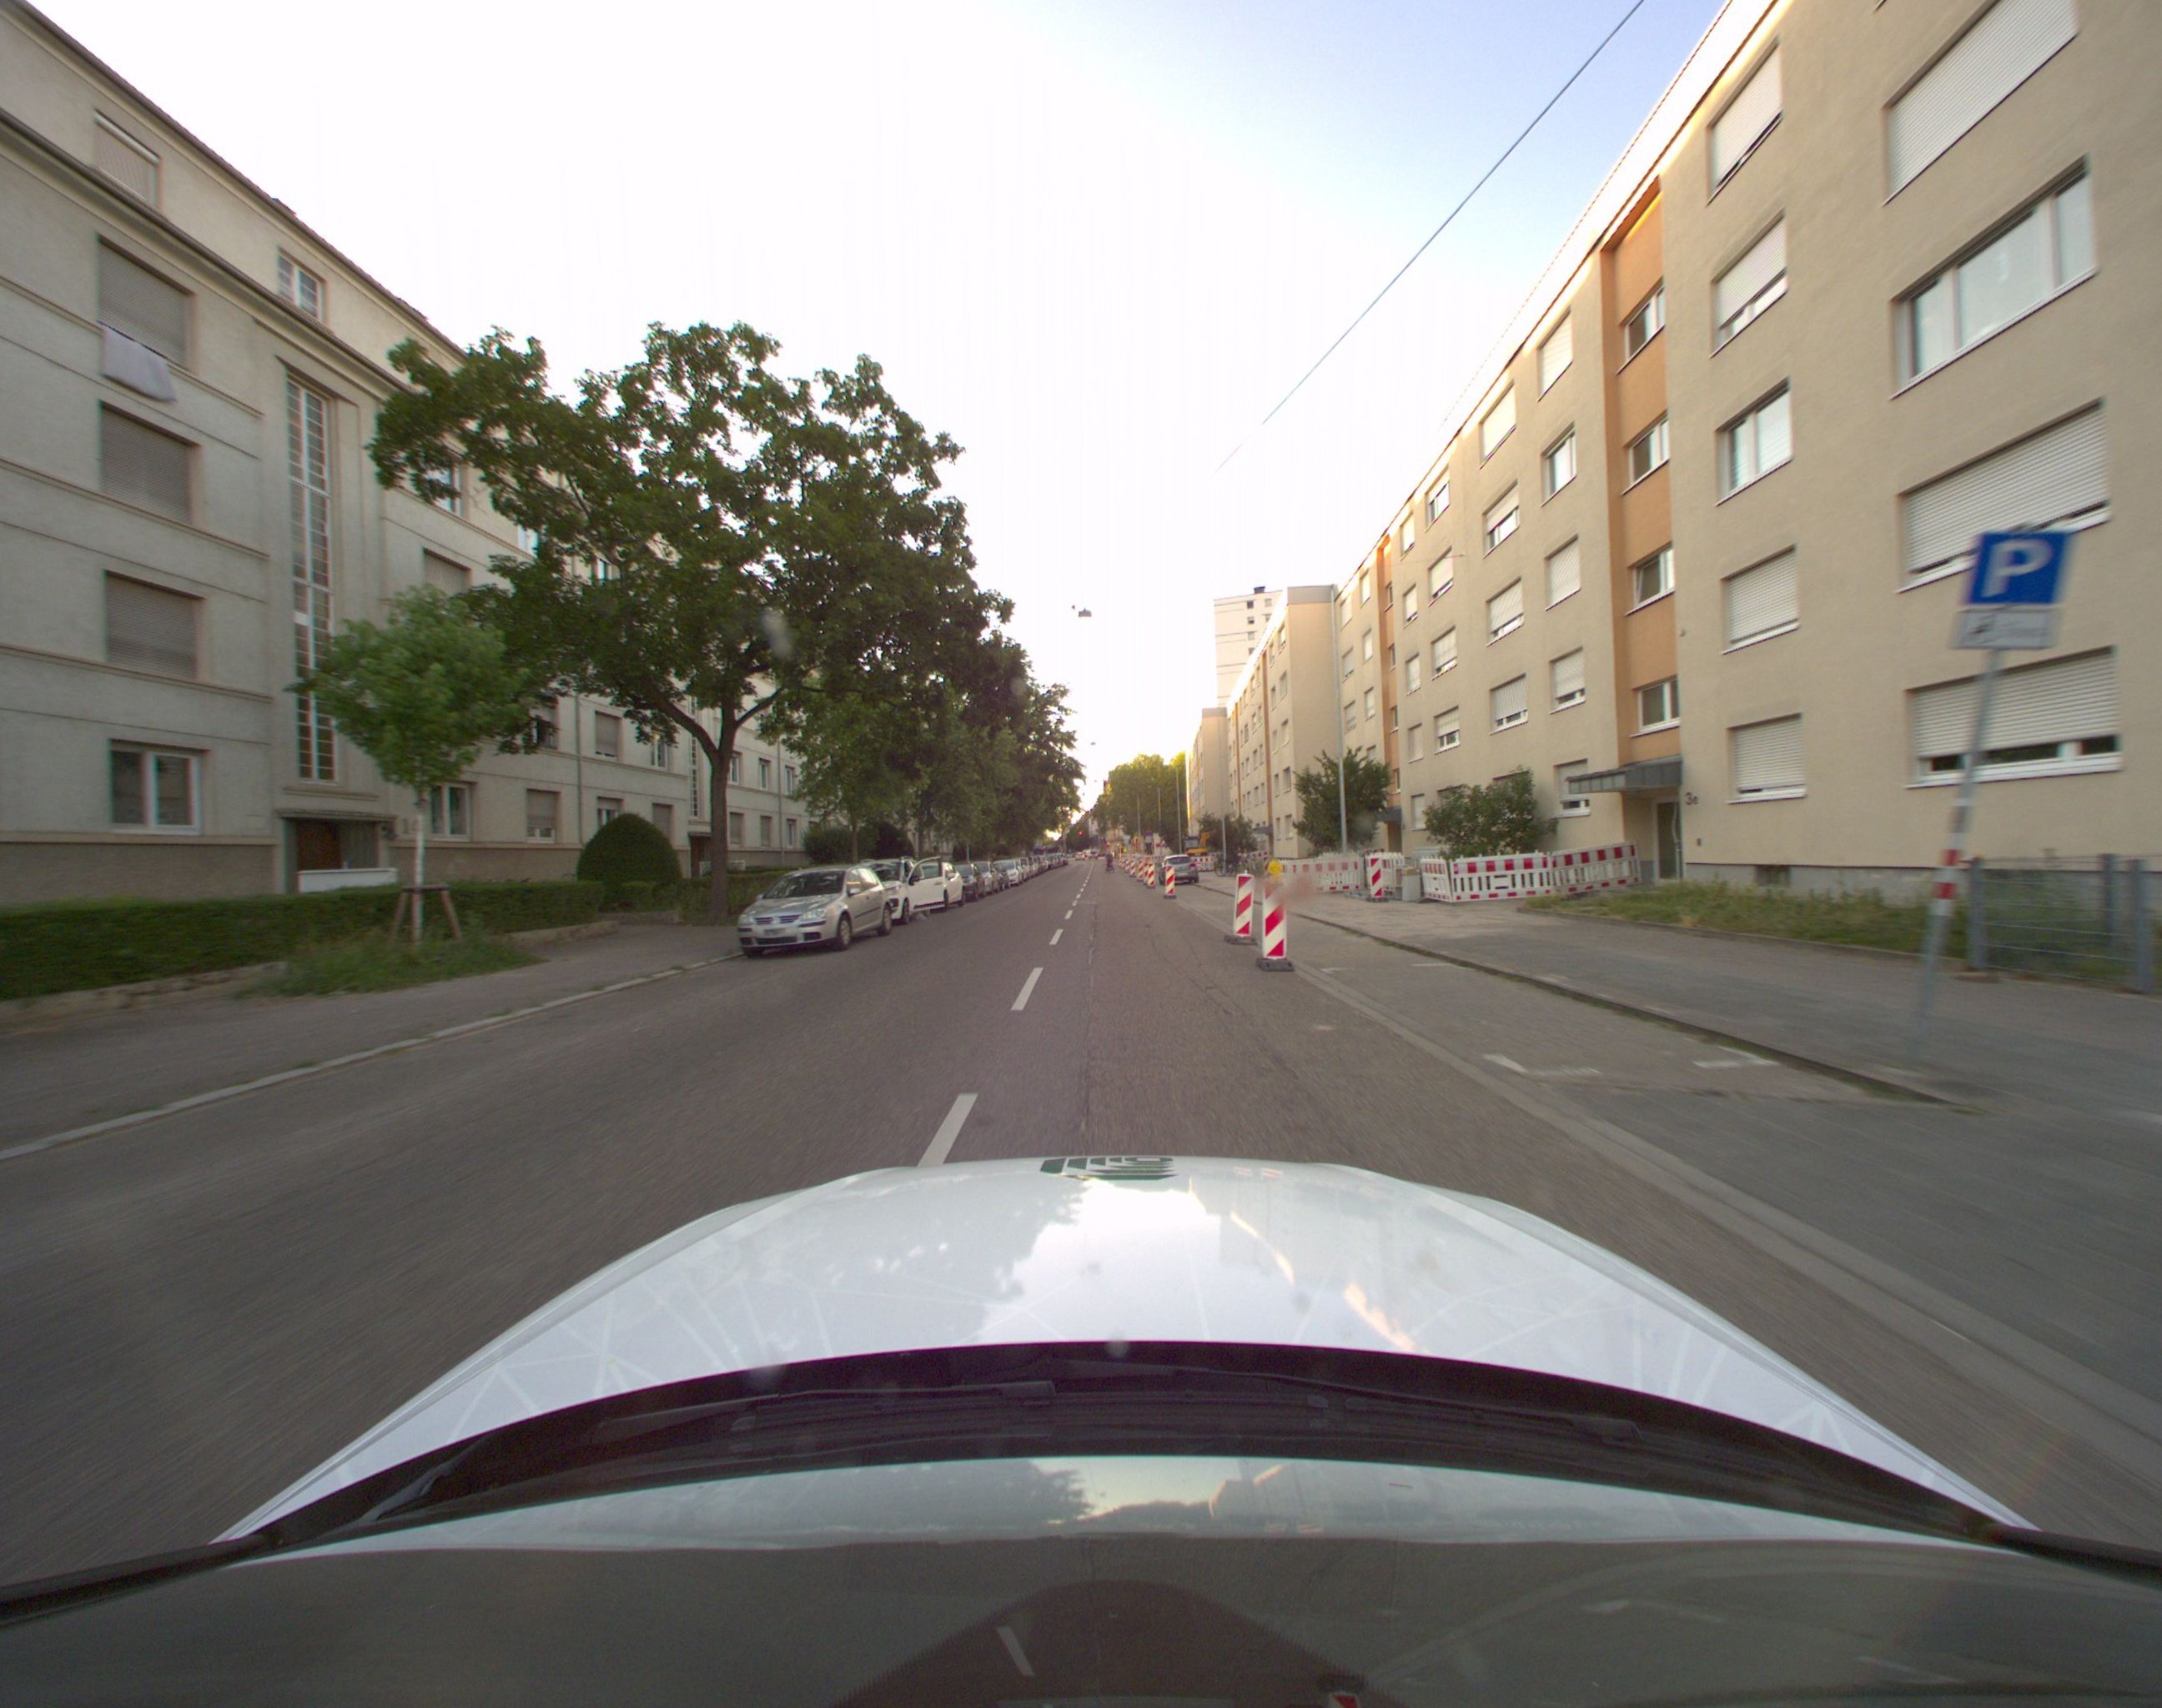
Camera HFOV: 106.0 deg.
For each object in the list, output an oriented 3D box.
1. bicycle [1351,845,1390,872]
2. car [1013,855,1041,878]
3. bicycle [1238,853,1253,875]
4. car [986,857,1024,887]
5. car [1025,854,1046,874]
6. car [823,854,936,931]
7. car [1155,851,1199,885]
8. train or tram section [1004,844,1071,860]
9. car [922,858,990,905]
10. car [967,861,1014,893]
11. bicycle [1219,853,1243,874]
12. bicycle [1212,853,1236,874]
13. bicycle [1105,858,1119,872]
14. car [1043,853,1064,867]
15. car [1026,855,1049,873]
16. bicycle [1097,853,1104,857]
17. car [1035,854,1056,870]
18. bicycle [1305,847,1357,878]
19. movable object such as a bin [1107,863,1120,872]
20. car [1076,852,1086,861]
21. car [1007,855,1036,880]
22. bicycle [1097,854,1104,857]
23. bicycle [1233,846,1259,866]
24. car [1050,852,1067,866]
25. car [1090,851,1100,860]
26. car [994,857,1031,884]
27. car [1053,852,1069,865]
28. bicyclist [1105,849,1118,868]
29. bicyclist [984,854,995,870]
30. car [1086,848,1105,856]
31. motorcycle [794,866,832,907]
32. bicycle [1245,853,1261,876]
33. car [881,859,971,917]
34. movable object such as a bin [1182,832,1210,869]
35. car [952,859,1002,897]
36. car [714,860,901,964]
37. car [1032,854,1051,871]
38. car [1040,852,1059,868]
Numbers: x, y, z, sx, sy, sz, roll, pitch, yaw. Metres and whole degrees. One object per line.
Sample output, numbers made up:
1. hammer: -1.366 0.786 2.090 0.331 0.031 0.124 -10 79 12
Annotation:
1. bicycle: 11.787 0.183 33.136 1.827 0.921 0.551 -6 -1 -40
2. car: -4.013 0.893 60.827 1.583 1.529 2.924 -5 0 3
3. bicycle: 9.176 0.539 45.466 0.553 1.172 1.819 -2 0 4
4. car: -4.190 0.989 45.497 1.687 1.459 4.143 -5 0 -1
5. car: -3.906 0.833 69.686 1.518 1.529 3.163 -5 0 0
6. car: -4.989 0.891 20.772 1.747 1.632 4.106 -5 0 0
7. car: 4.922 0.706 42.162 1.769 1.490 4.576 -6 0 2
8. train or tram section: -11.641 -0.438 216.345 16.870 3.625 5.068 -2 0 18
9. car: -4.607 0.974 30.658 1.747 1.479 4.677 -5 0 -1
10. car: -4.421 1.081 40.458 1.669 1.331 4.579 -5 0 0
11. bicycle: 8.752 0.551 47.499 0.627 1.172 1.807 -2 0 -15
12. bicycle: 8.225 0.554 47.001 0.557 1.172 1.805 -1 0 -18
13. bicycle: 2.689 0.933 71.038 0.937 1.172 2.357 -4 0 -2
14. car: -3.110 0.665 92.857 1.724 1.497 4.277 -4 0 5
15. car: -3.916 0.882 73.834 1.584 1.404 4.182 -5 0 1
16. bicycle: 5.544 0.354 233.277 1.909 0.968 0.545 -2 0 -1
17. car: -3.605 0.778 83.637 1.701 1.452 3.844 -5 0 1
18. bicycle: 9.920 0.336 32.365 1.804 1.022 0.558 -7 -1 1
19. movable object such as a bin: 2.750 1.152 69.370 0.937 0.689 0.992 -5 0 -2
20. car: -0.047 0.544 162.177 1.860 1.585 3.998 -3 0 -1
21. car: -4.104 0.926 56.649 1.585 1.505 3.800 -5 0 1
22. bicycle: 5.580 0.469 233.425 1.909 0.968 0.545 -2 0 -1
23. bicycle: 10.650 0.135 52.594 1.590 1.222 0.484 -2 0 -6
24. car: -2.900 0.646 105.574 1.947 1.719 4.771 -4 0 0
25. car: 3.022 0.238 177.561 1.860 1.815 3.999 -3 0 0
26. car: -4.178 0.976 50.068 1.686 1.459 4.484 -5 0 1
27. car: -2.725 0.621 113.413 1.947 1.616 4.605 -4 0 1
28. bicyclist: 2.652 0.425 70.946 0.937 1.581 1.145 -4 -1 -2
29. bicyclist: -8.259 0.724 73.640 0.805 1.404 0.974 -1 0 1
30. car: 4.225 -0.664 239.678 5.855 2.288 2.047 -2 0 -42
31. motorcycle: -9.123 1.091 27.789 0.584 1.324 1.829 -2 0 1
32. bicycle: 9.182 0.530 43.418 0.553 1.172 1.819 -2 0 4
33. car: -4.698 0.987 25.276 1.745 1.479 3.947 -5 0 3
34. movable object such as a bin: 8.605 -0.266 61.181 1.924 2.693 2.896 -2 0 6
35. car: -4.498 1.002 35.664 1.670 1.459 3.703 -5 0 -1
36. car: -4.808 0.934 15.024 1.745 1.471 4.226 -5 0 2
37. car: -3.853 0.819 79.244 1.586 1.538 4.204 -5 0 -1
38. car: -3.373 0.655 88.054 1.701 1.600 4.117 -5 0 1
